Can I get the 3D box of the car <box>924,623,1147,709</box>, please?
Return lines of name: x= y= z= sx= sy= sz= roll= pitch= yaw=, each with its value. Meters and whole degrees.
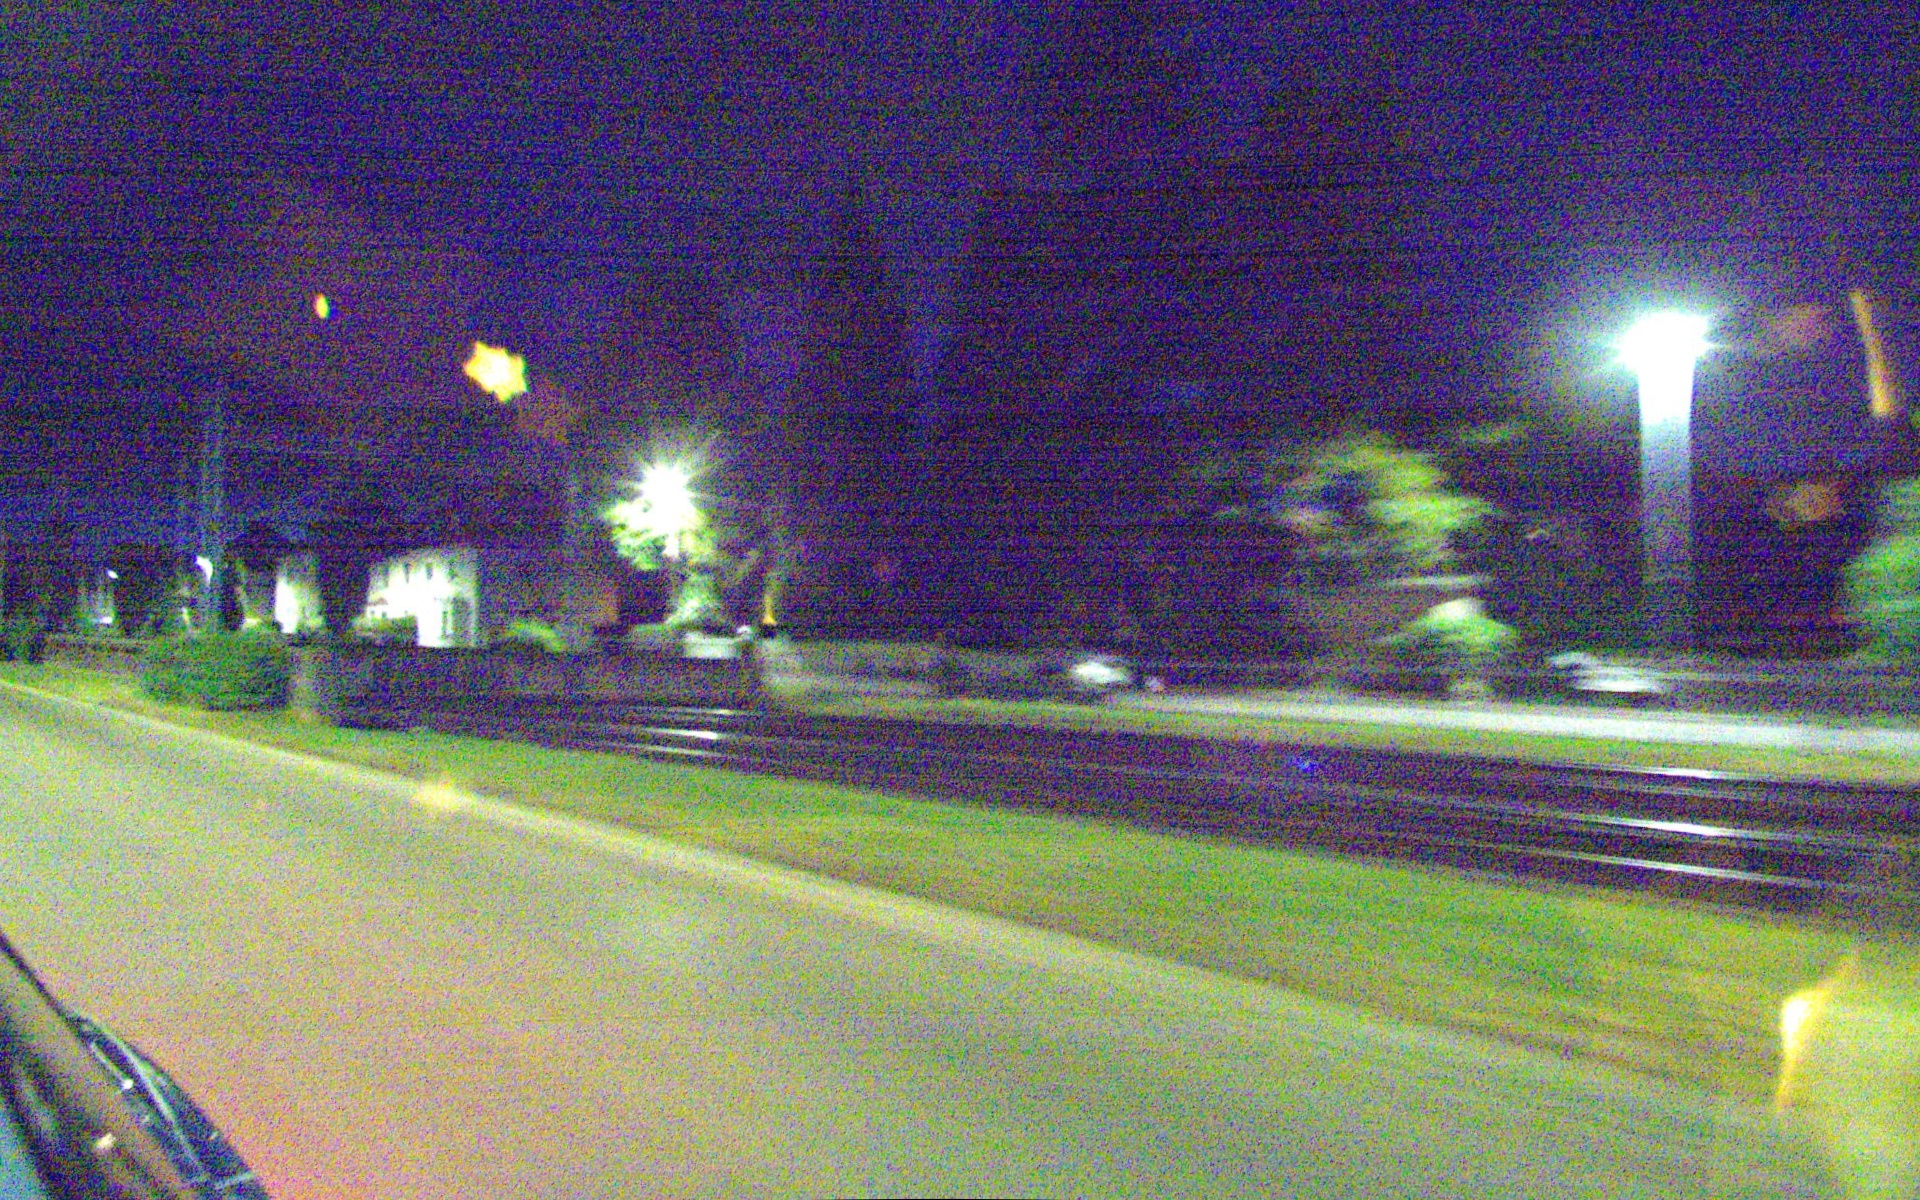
car: x=1.427 y=1.226 z=19.949 sx=4.090 sy=1.516 sz=1.847 roll=-1 pitch=-3 yaw=39
